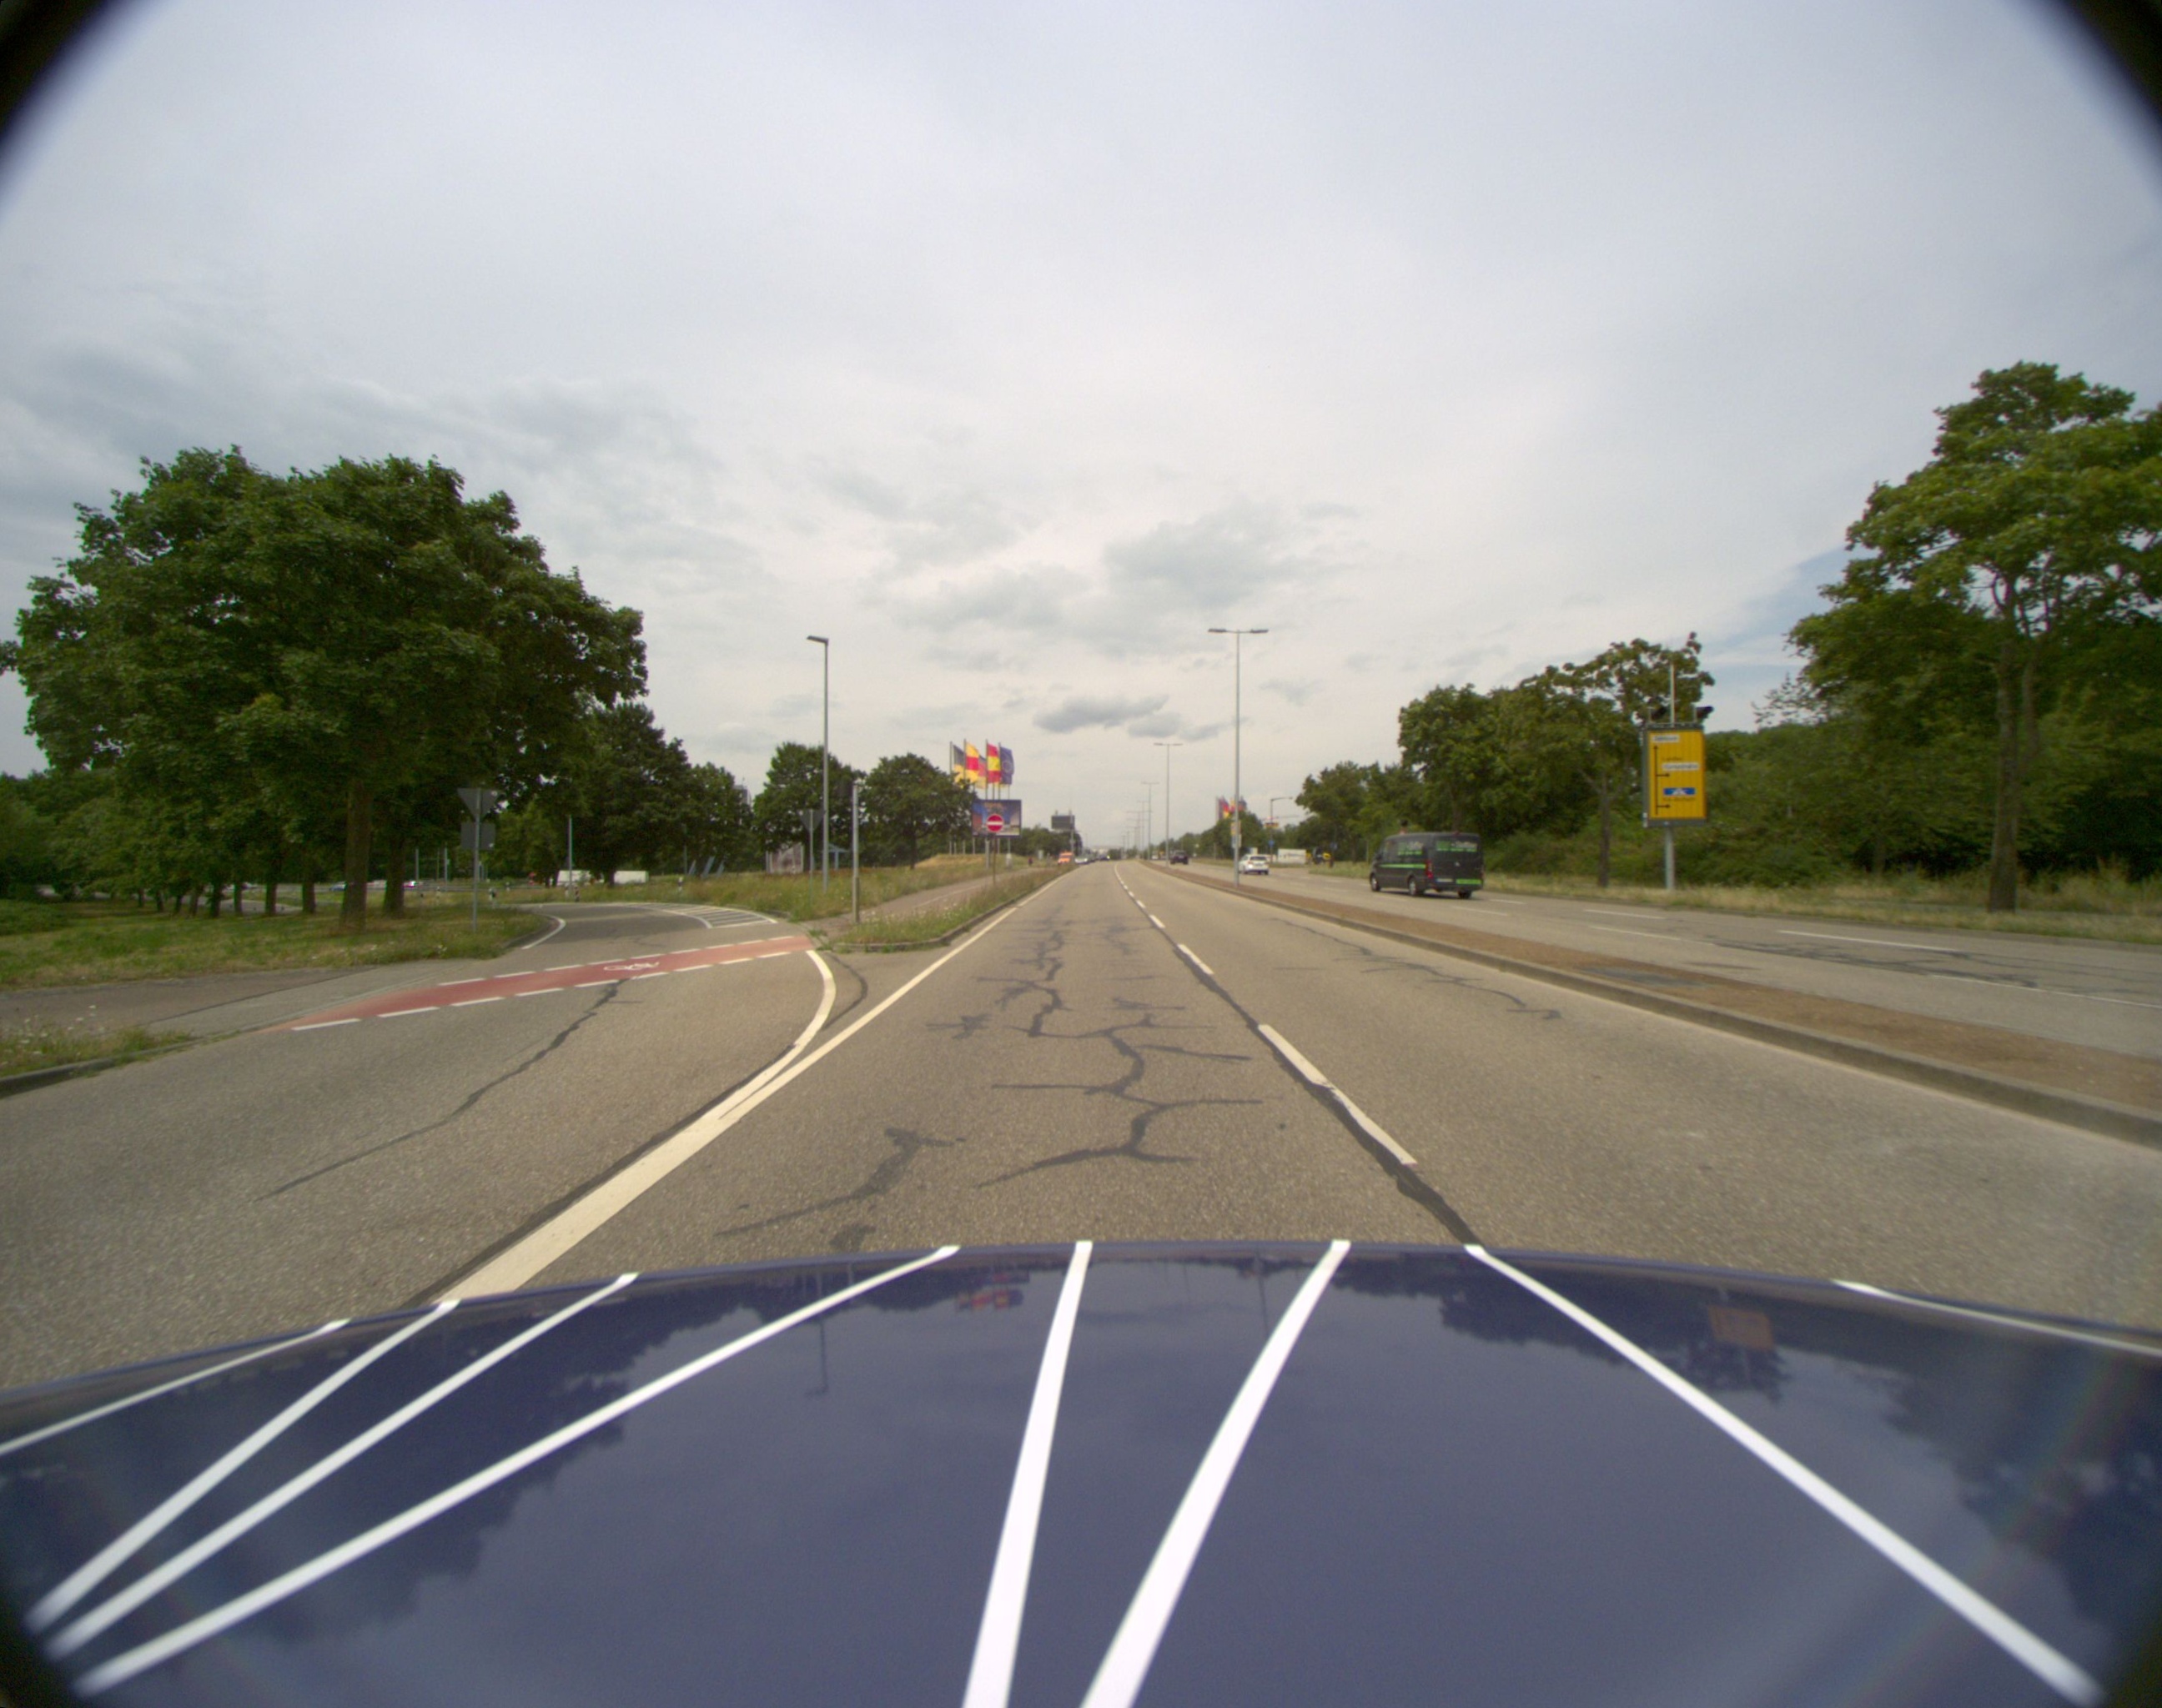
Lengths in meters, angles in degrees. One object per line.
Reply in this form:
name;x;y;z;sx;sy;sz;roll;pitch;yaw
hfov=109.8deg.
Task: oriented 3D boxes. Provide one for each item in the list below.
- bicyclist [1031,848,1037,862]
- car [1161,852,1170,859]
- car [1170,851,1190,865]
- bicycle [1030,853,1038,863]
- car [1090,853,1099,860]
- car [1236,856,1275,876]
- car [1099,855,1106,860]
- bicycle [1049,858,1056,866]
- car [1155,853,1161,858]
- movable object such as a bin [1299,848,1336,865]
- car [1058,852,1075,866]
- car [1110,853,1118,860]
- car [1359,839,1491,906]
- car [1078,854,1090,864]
bicyclist;-5.748;0.092;92.693;0.705;1.745;0.991;0;0;1
car;20.945;0.400;188.875;1.907;1.798;4.541;-1;-1;2
car;12.760;0.562;97.885;1.998;1.800;4.798;0;-1;0
bicycle;-5.737;0.474;92.766;0.695;1.185;2.461;0;-1;1
car;2.349;0.423;134.723;1.558;1.229;3.470;-2;-1;1
car;12.878;0.880;56.339;1.998;1.422;4.689;0;-1;2
car;5.322;0.823;188.768;1.558;1.229;3.470;-2;-1;1
bicycle;-3.159;0.910;83.855;0.625;0.883;2.154;-1;0;1
car;23.815;0.514;234.447;1.698;1.619;4.385;-1;-1;3
movable object such as a bin;33.471;0.334;107.735;4.593;2.382;1.999;-1;-1;-8
car;-1.904;0.674;100.165;1.892;1.824;4.431;-2;-1;1
car;6.798;0.538;157.859;1.558;1.229;3.470;-2;-1;1
car;12.419;0.625;27.987;2.100;2.188;6.004;1;0;0
car;0.457;0.715;109.520;1.695;1.403;3.684;-2;-1;0
